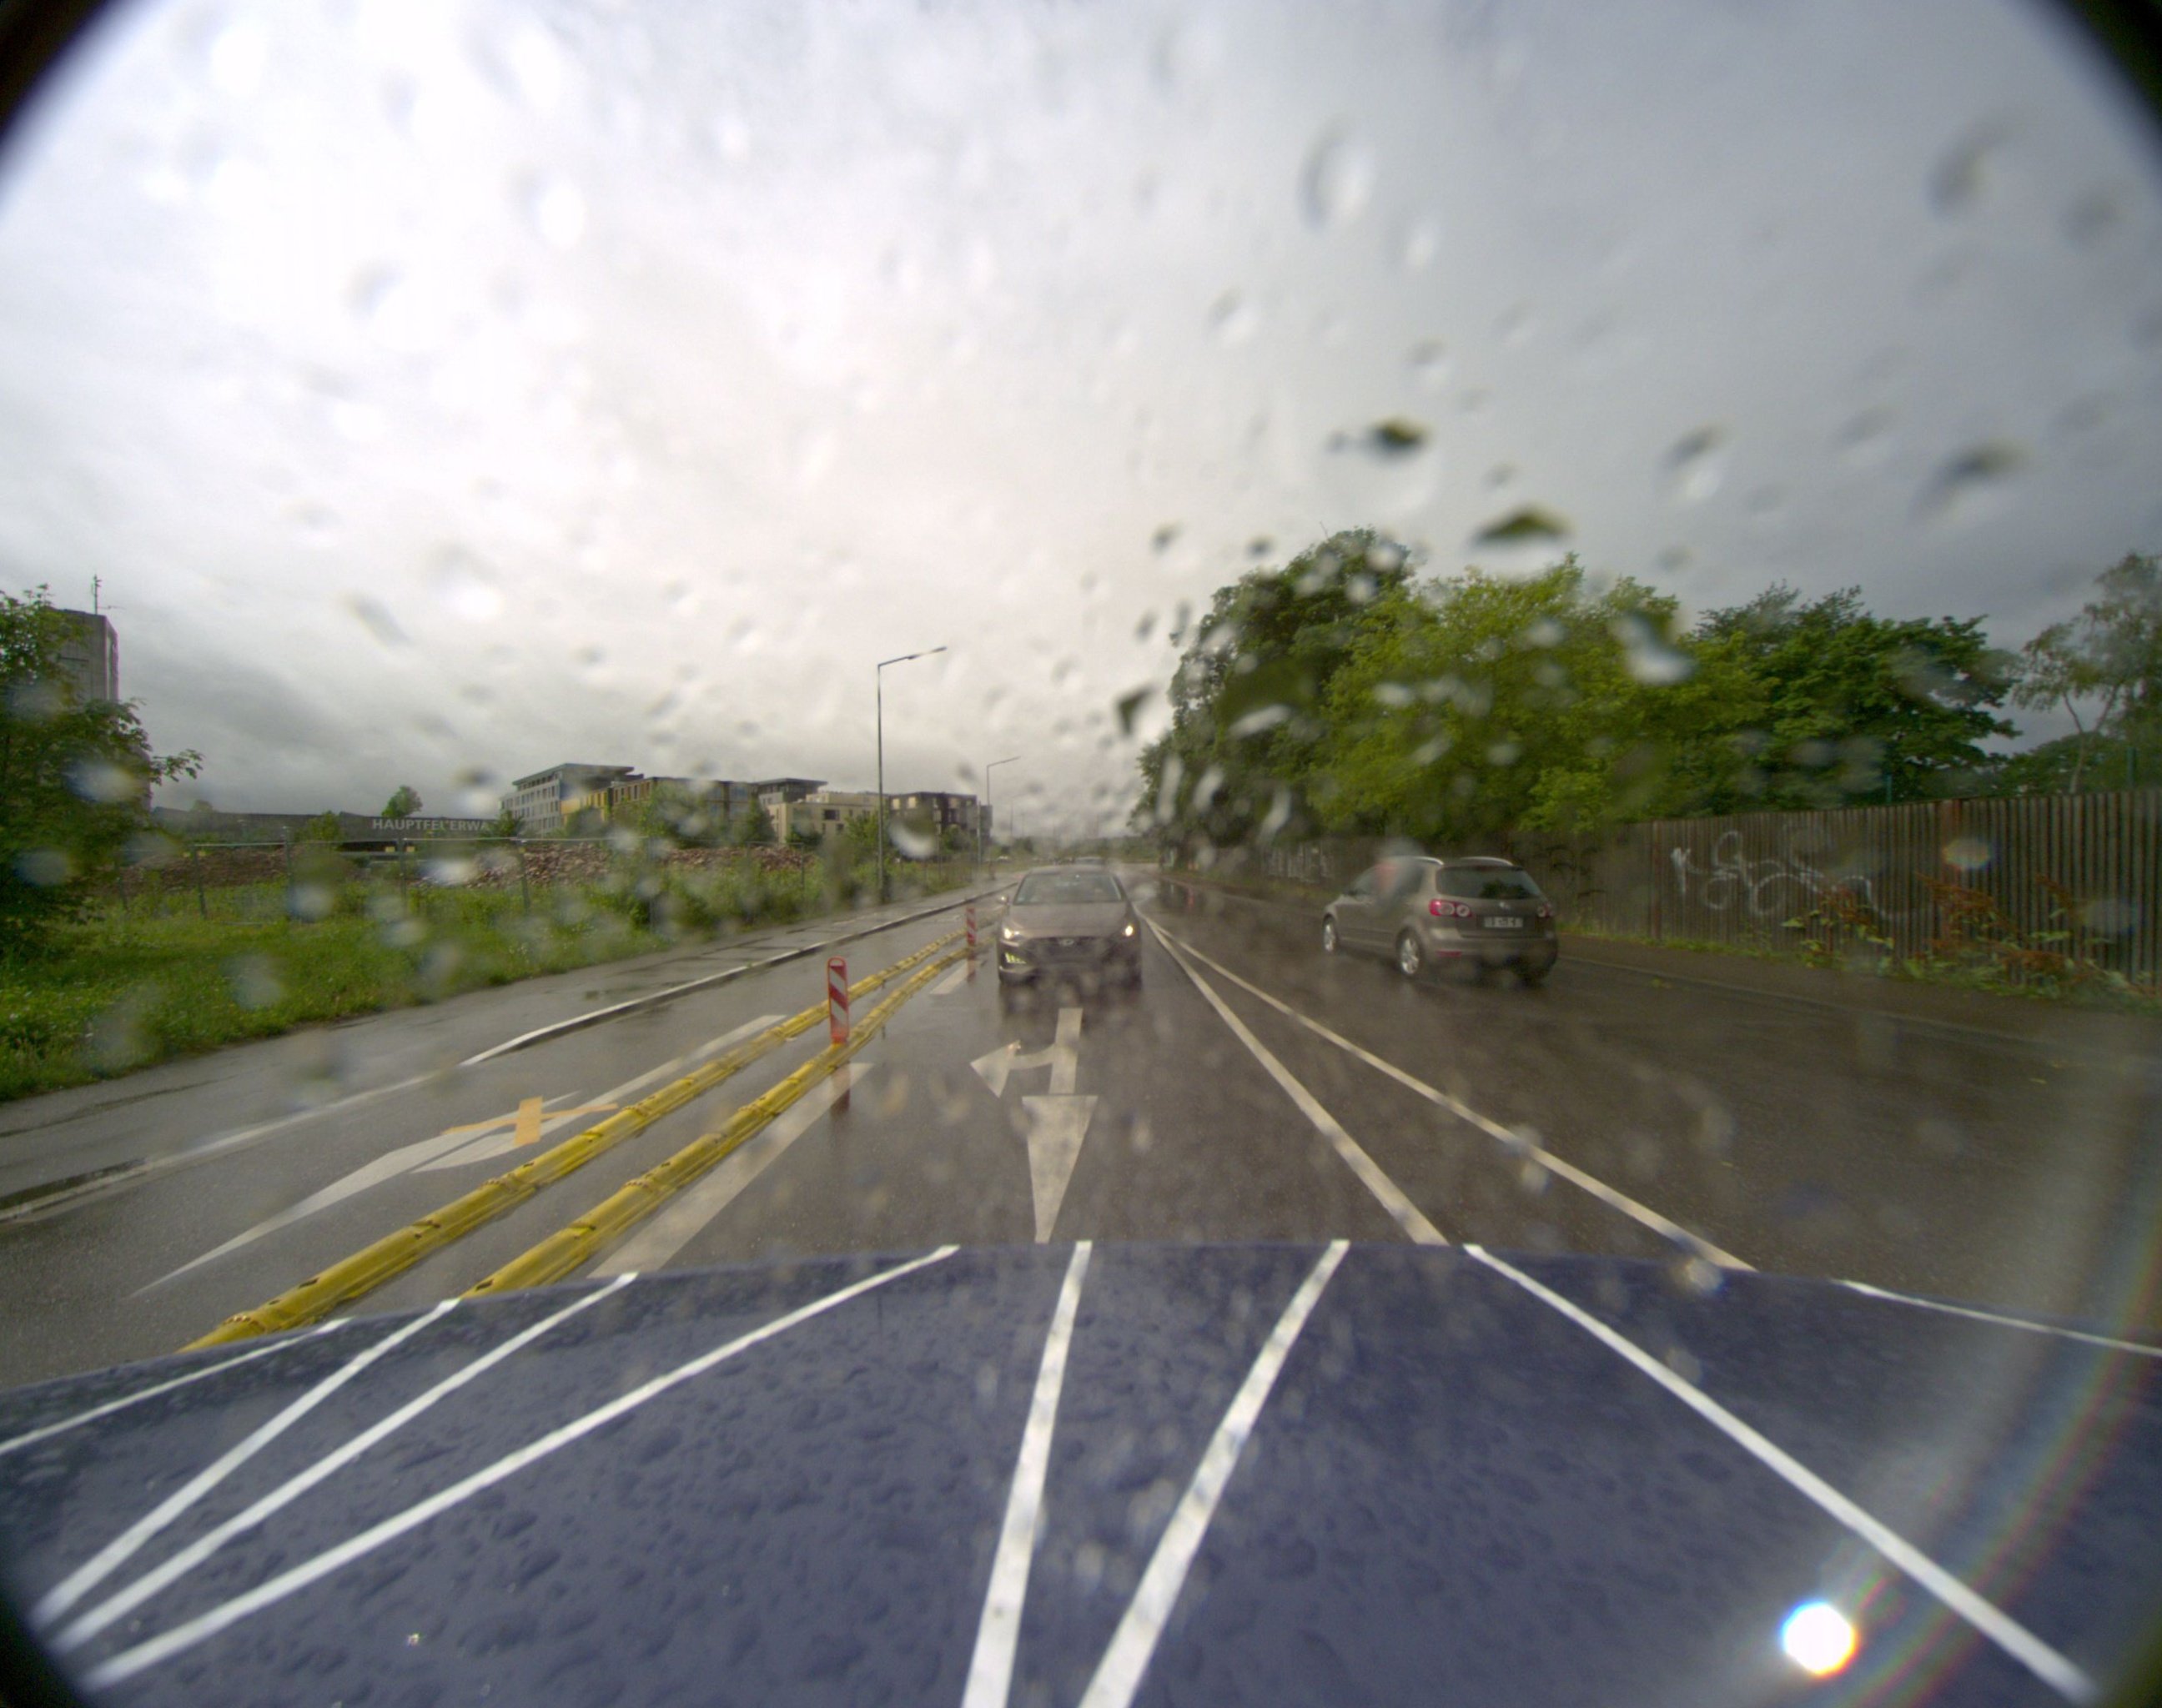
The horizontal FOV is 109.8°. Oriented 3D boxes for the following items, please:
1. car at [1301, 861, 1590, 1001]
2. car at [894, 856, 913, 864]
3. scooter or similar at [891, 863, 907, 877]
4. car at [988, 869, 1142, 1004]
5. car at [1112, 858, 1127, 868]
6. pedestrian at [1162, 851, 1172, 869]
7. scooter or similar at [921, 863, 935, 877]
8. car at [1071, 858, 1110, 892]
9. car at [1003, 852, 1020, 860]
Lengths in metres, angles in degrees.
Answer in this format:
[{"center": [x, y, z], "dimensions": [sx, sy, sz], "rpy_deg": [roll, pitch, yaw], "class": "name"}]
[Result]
[{"center": [4.859, 0.917, 10.984], "dimensions": [1.786, 1.543, 4.424], "rpy_deg": [2, 0, -4], "class": "car"}, {"center": [-35.120, 1.149, 150.530], "dimensions": [1.644, 1.573, 3.674], "rpy_deg": [-1, 0, 24], "class": "car"}, {"center": [-15.320, 1.338, 63.941], "dimensions": [1.191, 1.143, 0.748], "rpy_deg": [0, 1, 34], "class": "scooter or similar"}, {"center": [-0.221, 0.978, 10.549], "dimensions": [1.724, 1.423, 3.818], "rpy_deg": [-1, 0, -1], "class": "car"}, {"center": [6.344, 1.417, 124.366], "dimensions": [1.795, 1.623, 3.822], "rpy_deg": [-1, 0, 12], "class": "car"}, {"center": [8.398, 0.553, 74.106], "dimensions": [0.841, 1.759, 0.644], "rpy_deg": [0, 1, 1], "class": "pedestrian"}, {"center": [-12.670, 1.295, 62.874], "dimensions": [1.191, 1.143, 0.484], "rpy_deg": [0, 1, 34], "class": "scooter or similar"}, {"center": [0.434, 0.977, 36.939], "dimensions": [1.734, 1.539, 3.770], "rpy_deg": [-1, 0, 0], "class": "car"}, {"center": [-18.548, 0.599, 203.077], "dimensions": [4.008, 2.002, 1.994], "rpy_deg": [-1, 0, -43], "class": "car"}]
